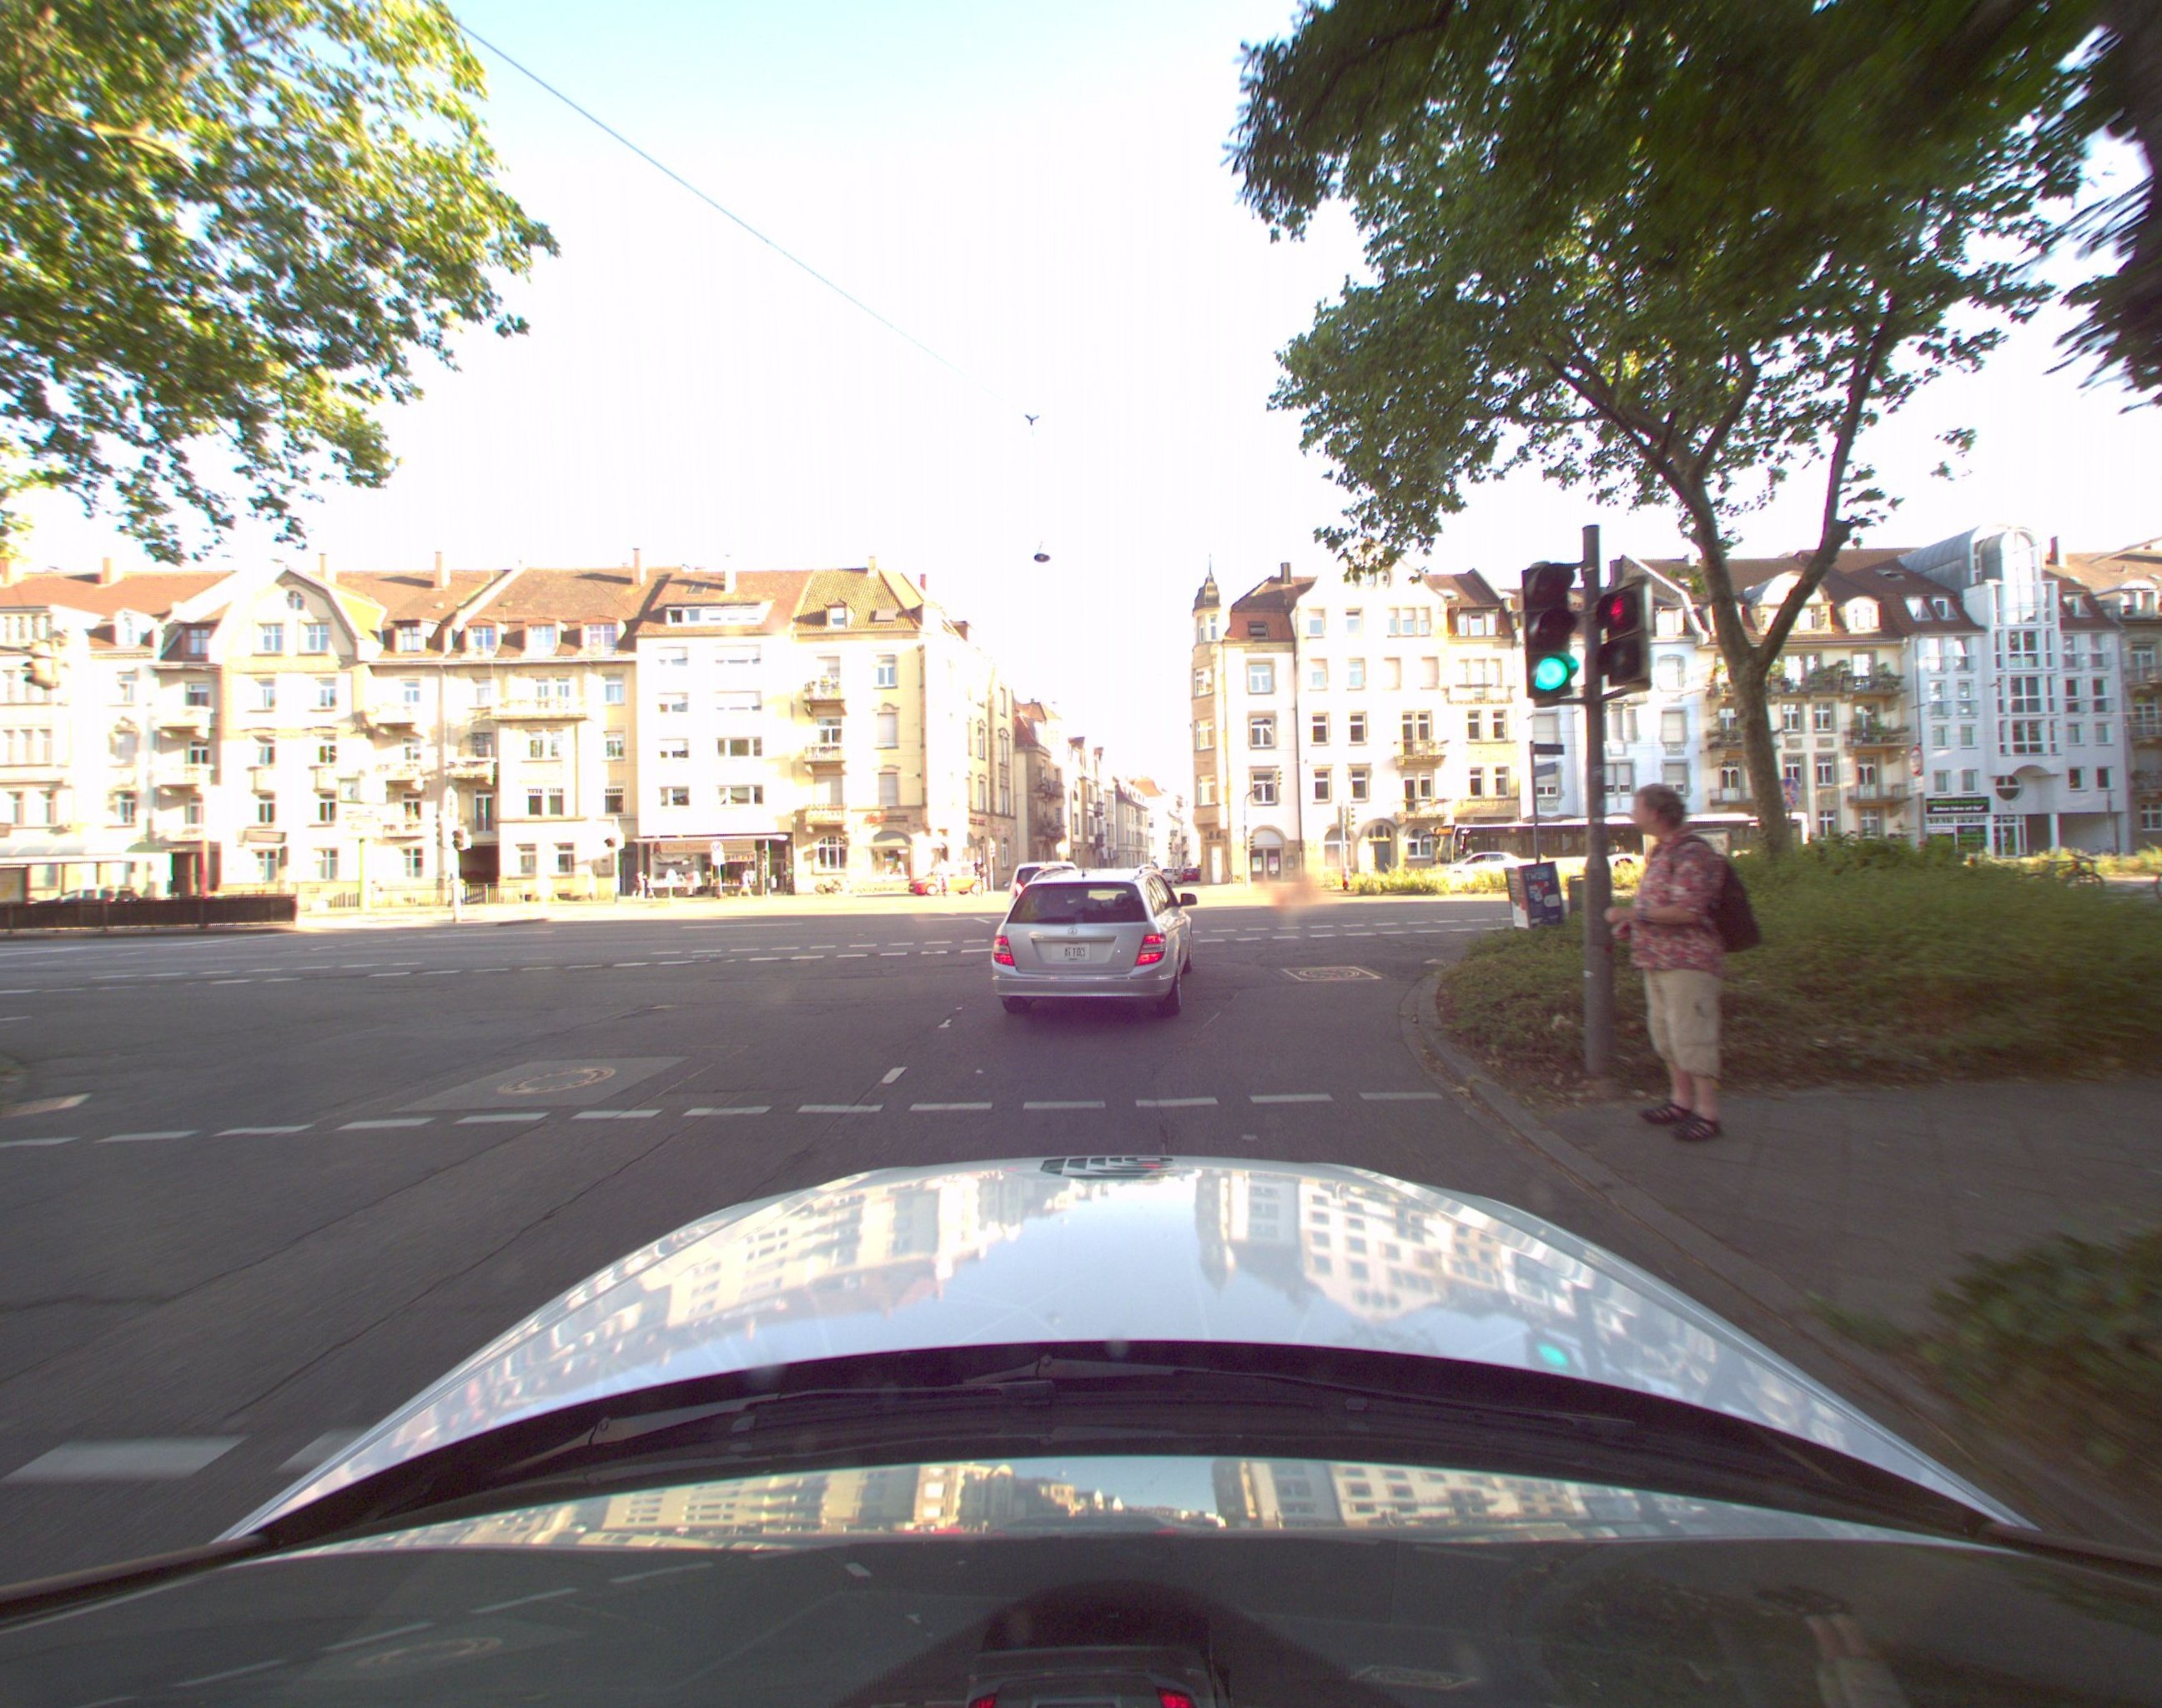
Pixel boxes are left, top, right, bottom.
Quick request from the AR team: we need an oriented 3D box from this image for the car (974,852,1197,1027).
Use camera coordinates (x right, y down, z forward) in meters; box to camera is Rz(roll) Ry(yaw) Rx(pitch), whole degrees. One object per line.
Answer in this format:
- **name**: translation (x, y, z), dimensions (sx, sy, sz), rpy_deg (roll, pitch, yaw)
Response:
- **car**: translation (0.308, 0.759, 9.067), dimensions (1.721, 1.477, 4.184), rpy_deg (-1, -1, 11)

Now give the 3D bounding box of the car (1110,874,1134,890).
- **car**: translation (4.325, 2.892, 85.277), dimensions (1.817, 1.615, 4.013), rpy_deg (-1, -1, 12)

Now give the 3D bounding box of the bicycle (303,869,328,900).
- **bicycle**: translation (-43.829, 1.747, 46.629), dimensions (0.882, 1.737, 0.561), rpy_deg (-1, -1, 3)

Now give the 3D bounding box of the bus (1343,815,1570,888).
- **bus**: translation (18.561, -0.096, 40.737), dimensions (9.836, 3.374, 3.275), rpy_deg (-1, -1, -1)

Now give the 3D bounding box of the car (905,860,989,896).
- **car**: translation (-7.532, 1.316, 45.990), dimensions (4.329, 1.899, 1.899), rpy_deg (0, -1, -37)

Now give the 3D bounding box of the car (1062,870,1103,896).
- **car**: translation (0.135, 2.014, 56.594), dimensions (1.816, 1.706, 4.016), rpy_deg (-1, -1, 15)

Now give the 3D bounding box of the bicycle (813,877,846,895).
- **bicycle**: translation (-15.280, 1.918, 49.438), dimensions (1.802, 1.028, 0.492), rpy_deg (-2, -1, -3)

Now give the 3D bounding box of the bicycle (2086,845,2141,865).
- **bicycle**: translation (59.925, 0.051, 47.273), dimensions (1.876, 1.032, 0.762), rpy_deg (-1, 4, 12)

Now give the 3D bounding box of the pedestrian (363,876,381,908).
- **pedestrian**: translation (-41.761, 2.251, 47.996), dimensions (0.473, 1.837, 0.641), rpy_deg (-1, -1, 2)

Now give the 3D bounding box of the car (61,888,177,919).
- **car**: translation (-51.696, 2.632, 43.887), dimensions (1.939, 1.464, 3.699), rpy_deg (0, -1, -5)

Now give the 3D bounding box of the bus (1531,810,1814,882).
- **bus**: translation (29.444, -0.377, 40.908), dimensions (11.901, 3.374, 3.264), rpy_deg (-1, -1, -1)

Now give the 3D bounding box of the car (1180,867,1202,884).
- **car**: translation (11.463, 2.218, 84.423), dimensions (1.817, 1.706, 4.015), rpy_deg (-1, -1, 14)

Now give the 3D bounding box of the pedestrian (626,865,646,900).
- **pedestrian**: translation (-26.104, 1.660, 47.819), dimensions (0.663, 2.014, 0.771), rpy_deg (-1, -1, 8)

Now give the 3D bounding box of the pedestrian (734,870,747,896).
- **pedestrian**: translation (-20.466, 1.738, 48.930), dimensions (0.561, 1.564, 0.466), rpy_deg (0, -1, -5)

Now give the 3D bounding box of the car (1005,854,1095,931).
- **car**: translation (-0.577, 0.785, 17.874), dimensions (1.726, 1.480, 3.815), rpy_deg (-1, -1, 1)

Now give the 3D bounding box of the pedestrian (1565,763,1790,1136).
- **pedestrian**: translation (3.114, 0.469, 4.326), dimensions (0.696, 1.806, 0.667), rpy_deg (-1, -1, 7)

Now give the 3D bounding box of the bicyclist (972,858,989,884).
- **bicyclist**: translation (-4.530, 0.766, 36.670), dimensions (0.607, 1.158, 0.768), rpy_deg (-1, -1, 3)

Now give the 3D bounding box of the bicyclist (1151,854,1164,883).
- **bicyclist**: translation (3.870, 0.735, 41.339), dimensions (0.607, 1.494, 0.768), rpy_deg (-1, -1, 3)

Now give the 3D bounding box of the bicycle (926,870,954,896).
- **bicycle**: translation (-6.273, 1.279, 36.397), dimensions (0.648, 1.105, 2.554), rpy_deg (-1, -1, 3)

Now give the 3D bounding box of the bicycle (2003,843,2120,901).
- **bicycle**: translation (19.138, 0.354, 15.900), dimensions (1.863, 1.068, 0.370), rpy_deg (-2, -1, -2)

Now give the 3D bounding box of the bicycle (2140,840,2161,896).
- **bicycle**: translation (22.186, 0.259, 16.169), dimensions (1.923, 1.098, 0.437), rpy_deg (-2, -1, -6)

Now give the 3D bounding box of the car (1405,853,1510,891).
- **car**: translation (17.376, 0.829, 37.745), dimensions (3.971, 1.684, 1.937), rpy_deg (-1, -1, 2)

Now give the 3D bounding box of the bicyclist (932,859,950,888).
- **bicyclist**: translation (-6.262, 0.868, 36.400), dimensions (0.656, 1.236, 0.768), rpy_deg (-1, -1, 3)

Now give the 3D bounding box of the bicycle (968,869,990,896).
- **bicycle**: translation (-4.561, 1.264, 36.577), dimensions (0.648, 1.105, 1.926), rpy_deg (-1, 1, 3)

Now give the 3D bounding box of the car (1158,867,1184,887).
- **car**: translation (7.601, 1.921, 68.608), dimensions (1.818, 1.615, 4.013), rpy_deg (-1, -1, 12)

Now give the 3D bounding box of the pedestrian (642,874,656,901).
- **pedestrian**: translation (-25.429, 1.983, 47.917), dimensions (0.561, 1.564, 0.466), rpy_deg (0, -1, -5)

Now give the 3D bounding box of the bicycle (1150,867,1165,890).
- **bicycle**: translation (3.875, 1.230, 41.395), dimensions (0.617, 1.105, 2.554), rpy_deg (-1, -1, 3)
